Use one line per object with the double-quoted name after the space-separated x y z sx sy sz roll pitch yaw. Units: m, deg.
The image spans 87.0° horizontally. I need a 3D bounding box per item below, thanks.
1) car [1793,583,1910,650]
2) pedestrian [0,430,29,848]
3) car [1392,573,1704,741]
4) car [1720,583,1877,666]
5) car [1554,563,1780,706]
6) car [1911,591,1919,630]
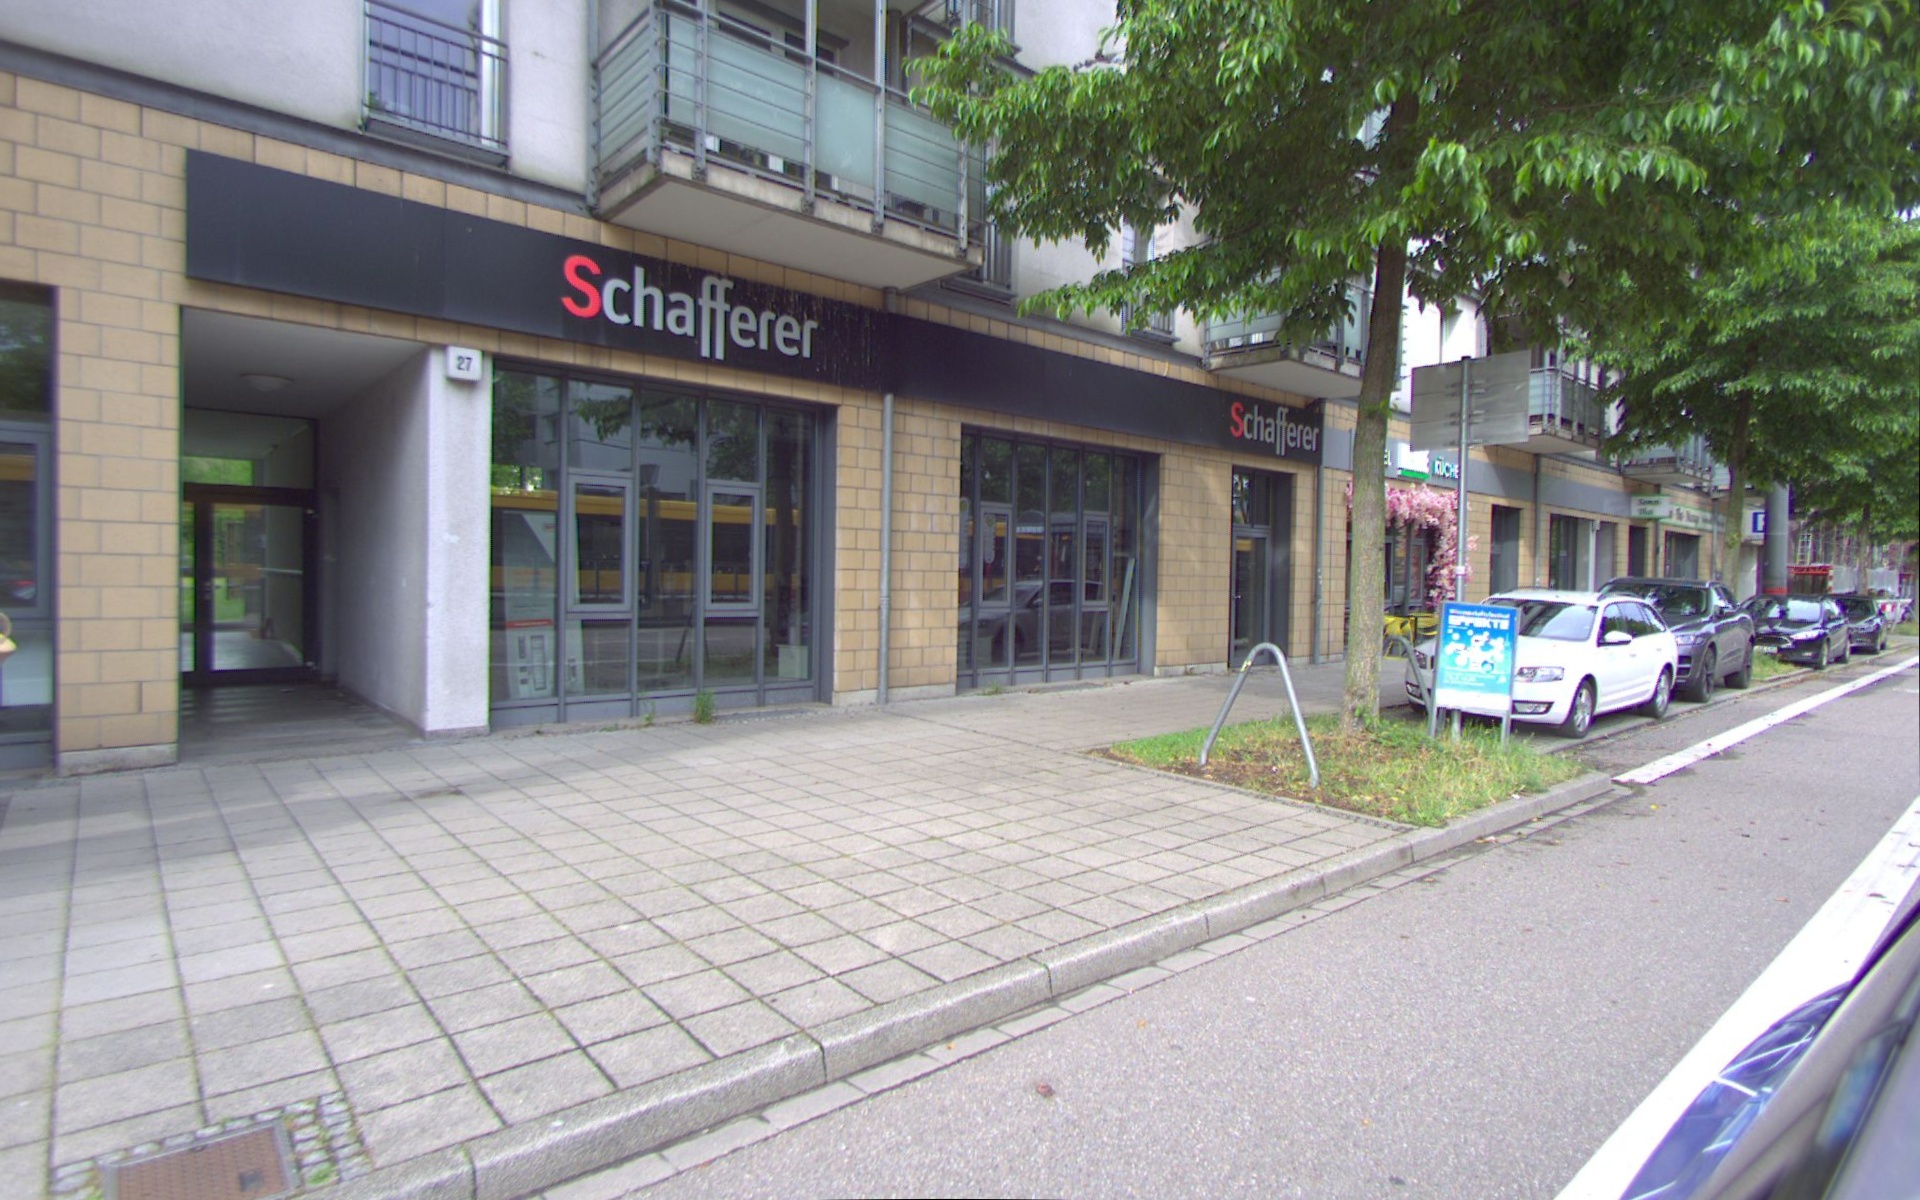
23.115 0.355 26.193 4.315 1.472 1.800 -1 5 -43 "car"
-4.839 0.171 4.689 0.724 1.914 0.677 0 2 -39 "pedestrian"
6.907 0.510 11.697 4.312 1.517 1.681 -1 4 -40 "car"
17.492 0.431 21.045 4.329 1.459 1.681 -1 4 -40 "car"
10.622 0.386 15.062 4.632 1.737 1.715 -1 4 -43 "car"
39.017 0.416 39.942 4.206 1.478 1.754 -1 4 -42 "car"
